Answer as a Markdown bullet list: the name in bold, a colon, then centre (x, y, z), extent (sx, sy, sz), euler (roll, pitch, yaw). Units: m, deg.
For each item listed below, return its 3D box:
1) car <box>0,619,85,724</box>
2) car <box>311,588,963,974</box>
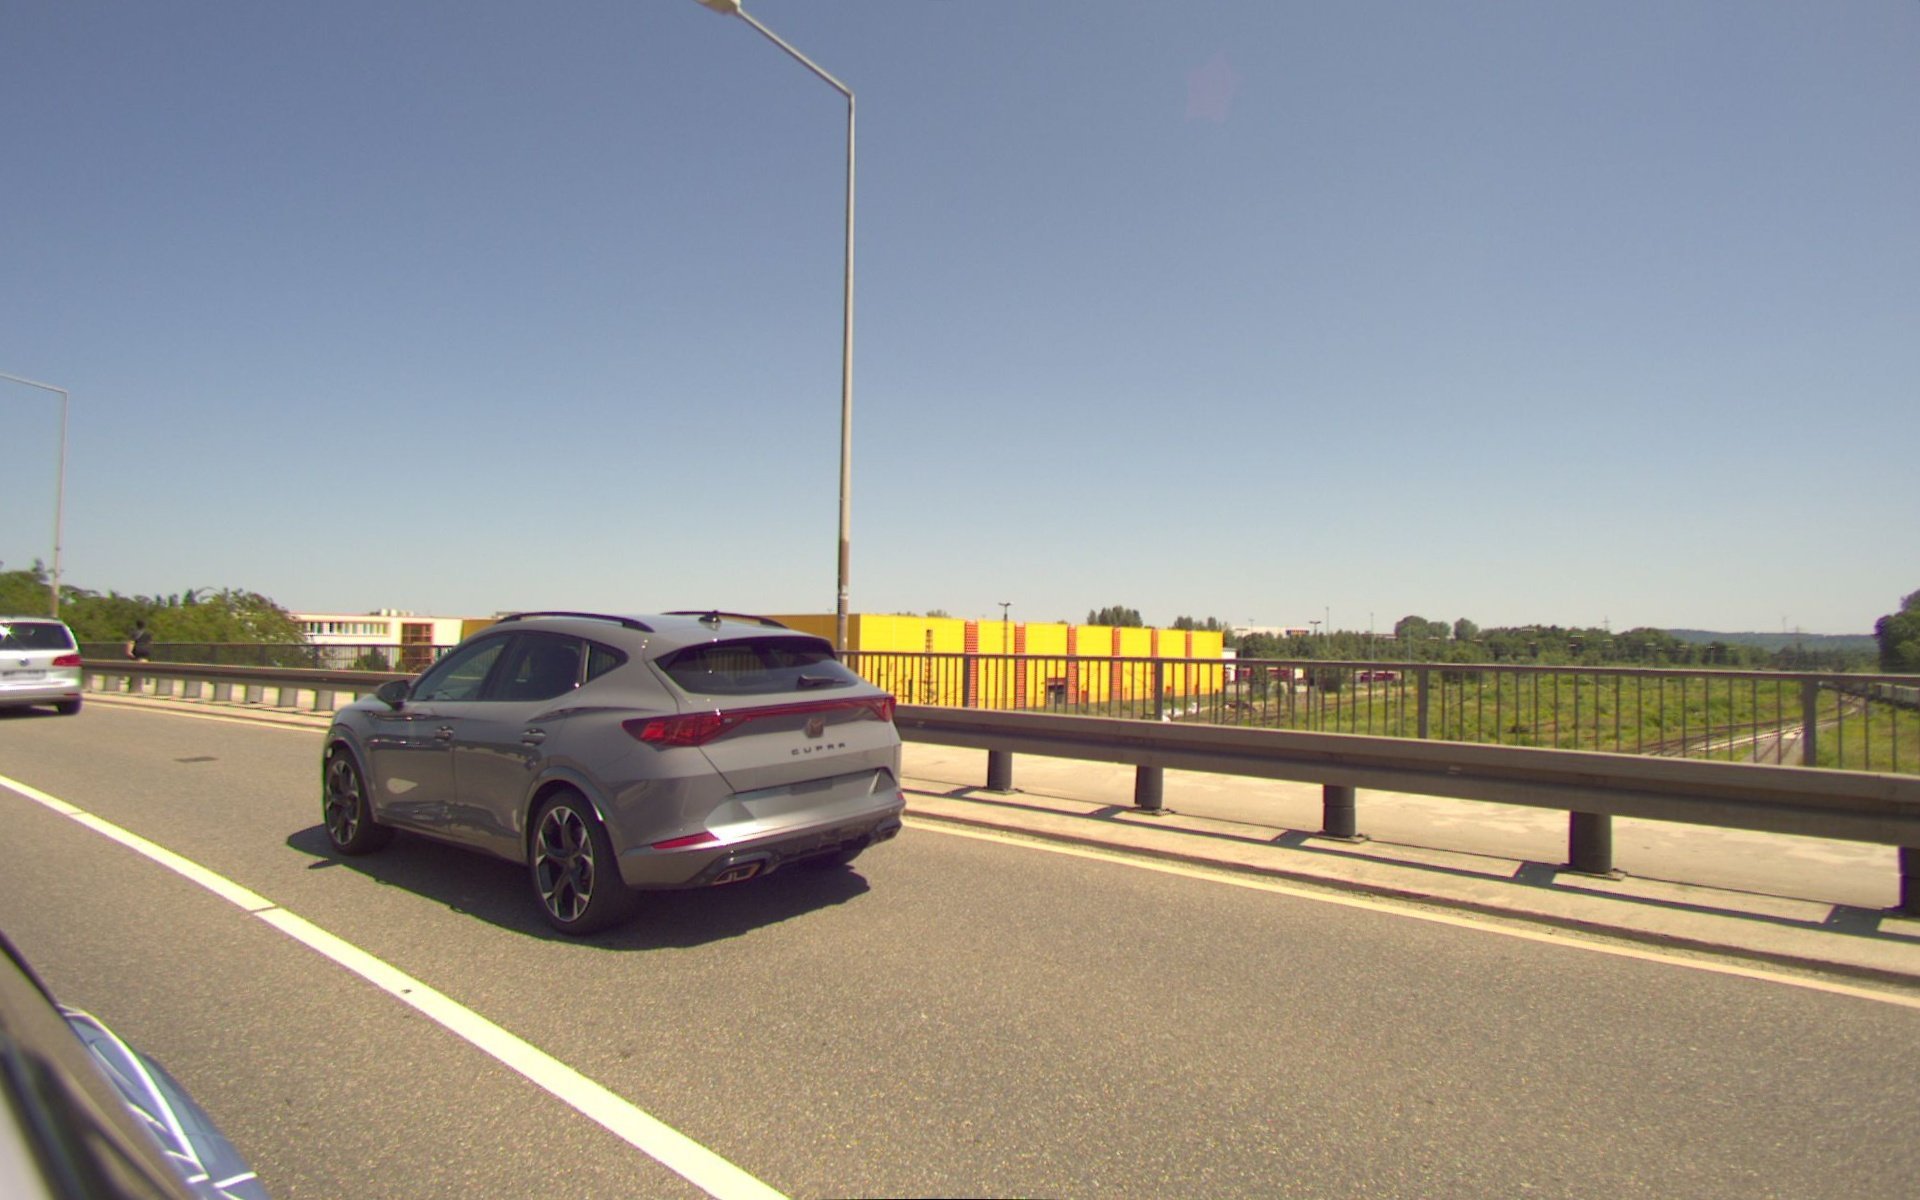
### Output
- **car**: centre (-16.420, 1.154, 16.937), extent (3.989, 1.620, 1.680), euler (-2, -2, 34)
- **car**: centre (-2.146, 0.771, 6.035), extent (4.191, 1.519, 1.757), euler (-2, -2, 40)
